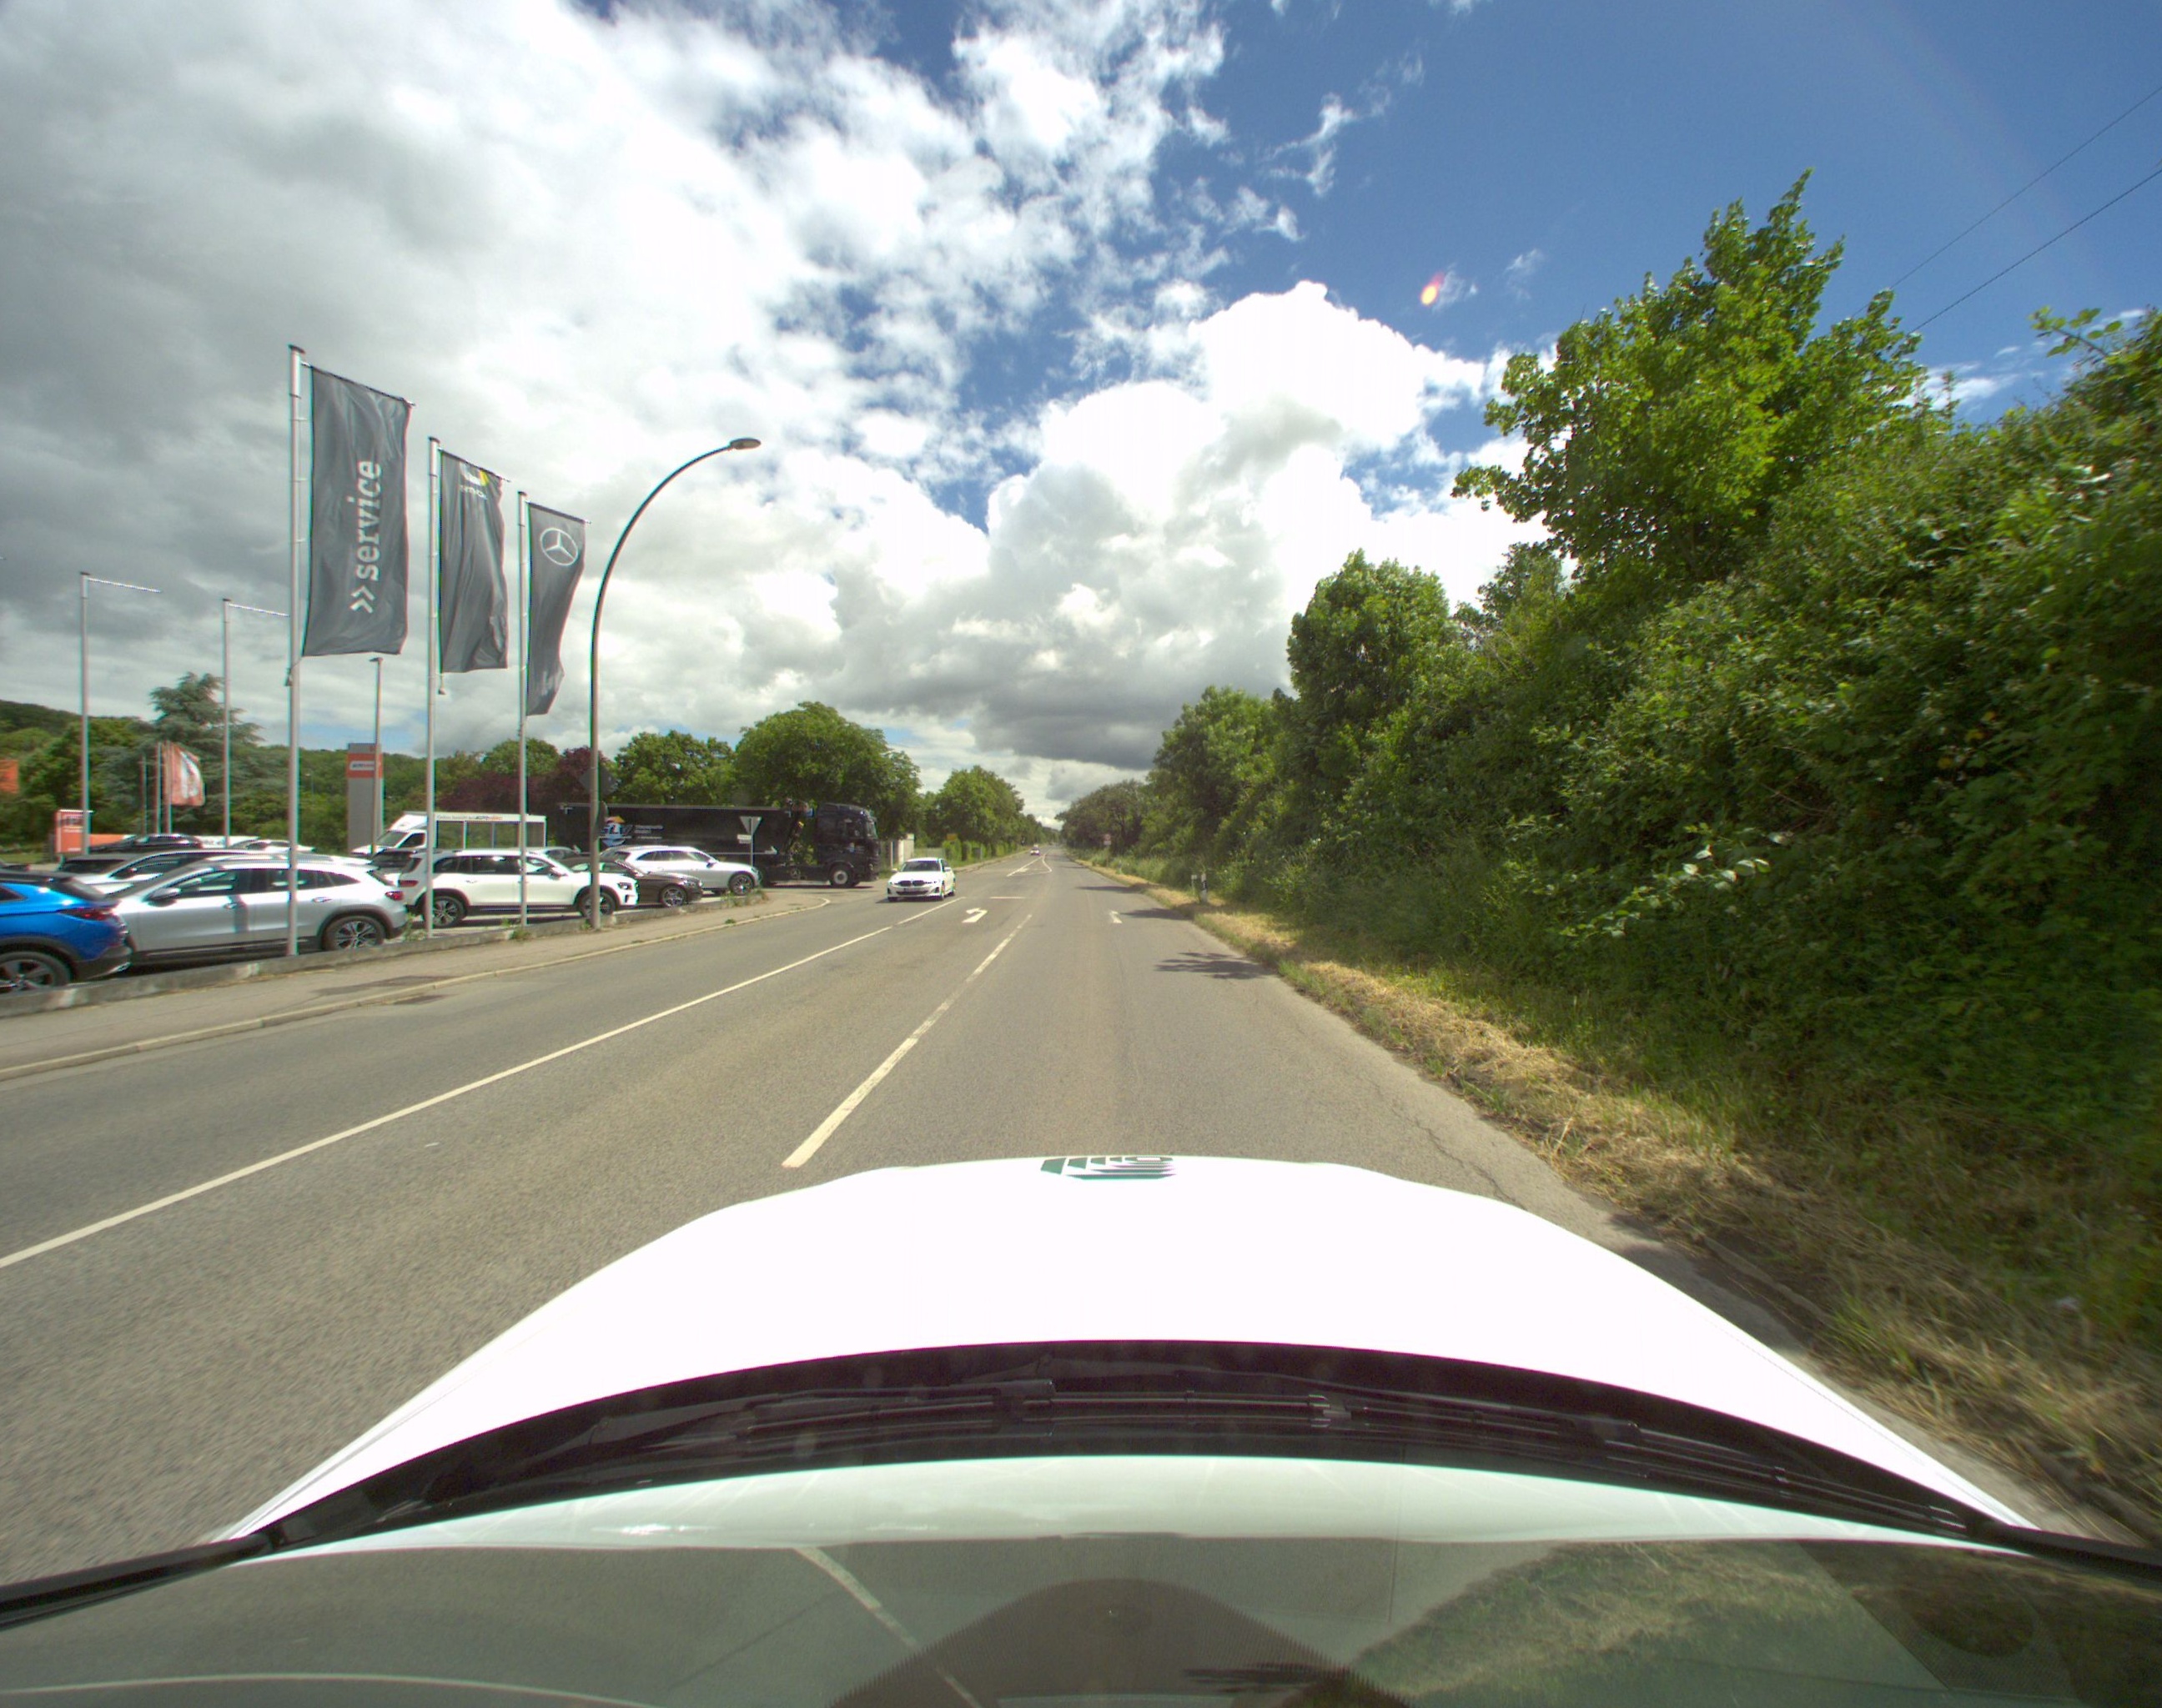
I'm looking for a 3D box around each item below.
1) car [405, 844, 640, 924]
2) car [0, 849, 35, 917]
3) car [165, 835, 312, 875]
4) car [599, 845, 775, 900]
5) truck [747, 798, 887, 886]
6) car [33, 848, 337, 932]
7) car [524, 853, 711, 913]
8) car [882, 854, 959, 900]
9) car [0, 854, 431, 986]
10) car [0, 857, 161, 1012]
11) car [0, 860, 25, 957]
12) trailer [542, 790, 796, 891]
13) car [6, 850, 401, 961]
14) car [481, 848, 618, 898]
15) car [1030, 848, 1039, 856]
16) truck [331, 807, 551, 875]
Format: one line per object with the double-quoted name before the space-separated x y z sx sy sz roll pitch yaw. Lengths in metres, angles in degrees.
"car" -12.752 0.624 18.921 4.314 1.678 1.917 0 0 -32
"car" -26.464 0.708 18.653 1.854 1.629 3.959 0 0 -33
"car" -41.576 0.056 40.329 1.810 1.845 4.702 0 0 27
"car" -12.722 0.538 26.564 1.963 1.605 4.771 1 1 43
"truck" -11.903 -0.527 37.189 5.548 3.823 2.978 0 0 -7
"car" -19.924 0.695 18.395 1.844 1.616 4.461 2 2 42
"car" -12.671 0.731 22.503 4.341 1.465 1.780 0 2 -29
"car" -5.537 0.752 28.627 1.989 1.450 4.421 -2 0 -3
"car" -13.191 0.838 12.612 1.850 1.566 4.550 2 2 36
"car" -13.398 0.892 8.669 1.870 1.668 4.600 2 1 36
"car" -20.300 0.966 13.140 1.781 1.625 3.980 1 1 38
"trailer" -17.606 -0.562 35.727 9.460 4.083 3.300 0 0 -18
"car" -15.183 0.747 14.385 1.850 1.566 4.550 2 2 36
"car" -19.007 0.617 29.418 1.792 1.601 4.763 -1 0 0
"car" -8.843 -0.302 154.617 1.656 1.432 3.689 -1 1 -2
"truck" -31.942 -0.598 41.265 2.633 3.049 8.635 0 0 21
